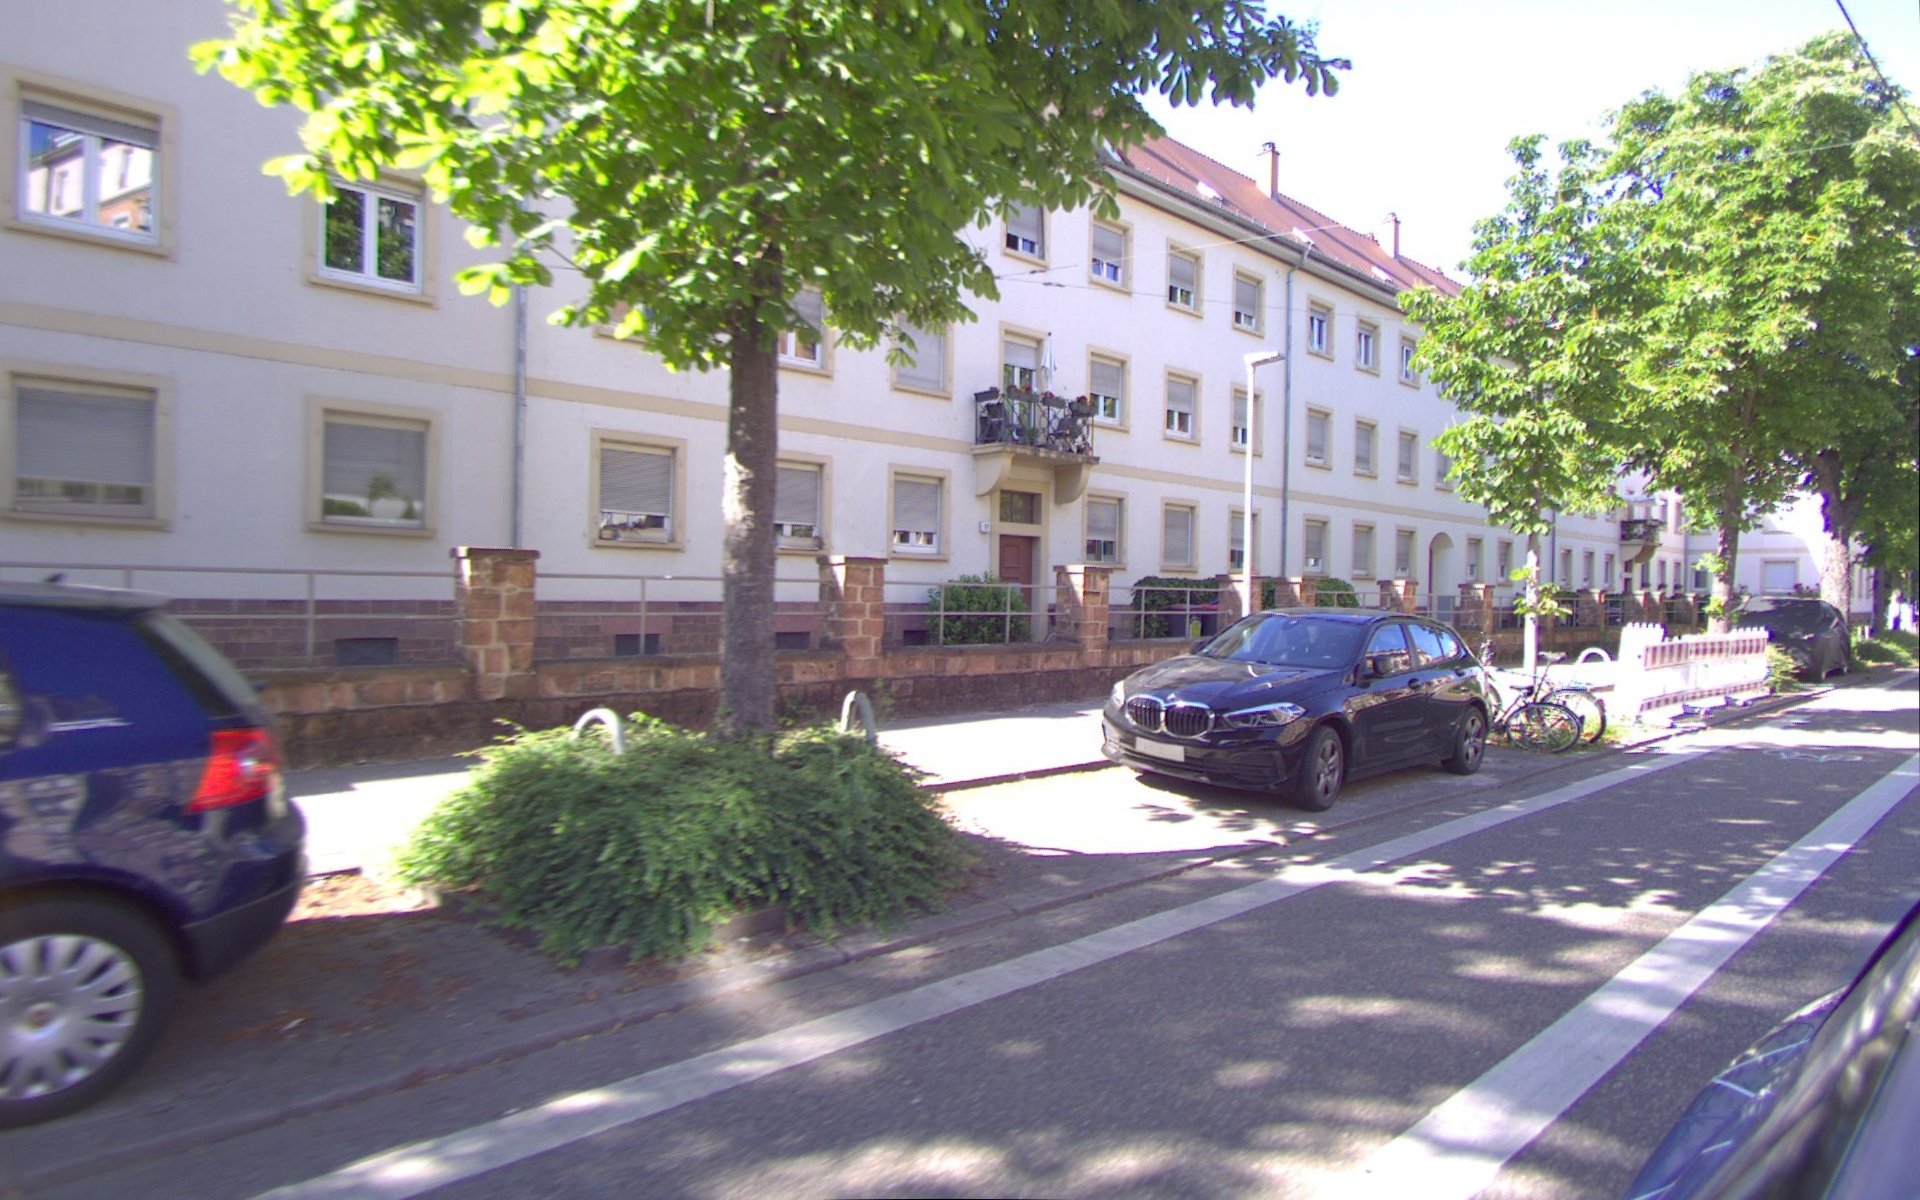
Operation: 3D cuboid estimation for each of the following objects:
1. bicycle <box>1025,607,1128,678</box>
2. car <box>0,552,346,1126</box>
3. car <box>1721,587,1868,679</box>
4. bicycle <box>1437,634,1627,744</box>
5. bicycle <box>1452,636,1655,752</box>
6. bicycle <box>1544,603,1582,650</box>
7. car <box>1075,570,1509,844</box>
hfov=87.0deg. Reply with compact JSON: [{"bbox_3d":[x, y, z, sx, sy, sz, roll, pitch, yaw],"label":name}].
[{"bbox_3d":[1.889,0.650,16.241,1.839,1.066,0.560,0,0,-41],"label":"bicycle"},{"bbox_3d":[-4.027,0.599,2.380,4.173,1.492,1.722,0,1,-42],"label":"car"},{"bbox_3d":[17.919,0.652,21.653,4.400,1.789,1.746,0,-1,-42],"label":"car"},{"bbox_3d":[6.230,0.932,11.120,0.426,1.092,1.765,0,-1,-39],"label":"bicycle"},{"bbox_3d":[6.112,0.931,10.524,0.426,1.092,1.765,0,-1,-39],"label":"bicycle"},{"bbox_3d":[16.665,0.726,27.945,1.647,1.254,0.448,0,0,-43],"label":"bicycle"},{"bbox_3d":[2.979,0.690,8.593,4.158,1.783,1.668,0,0,-42],"label":"car"}]
